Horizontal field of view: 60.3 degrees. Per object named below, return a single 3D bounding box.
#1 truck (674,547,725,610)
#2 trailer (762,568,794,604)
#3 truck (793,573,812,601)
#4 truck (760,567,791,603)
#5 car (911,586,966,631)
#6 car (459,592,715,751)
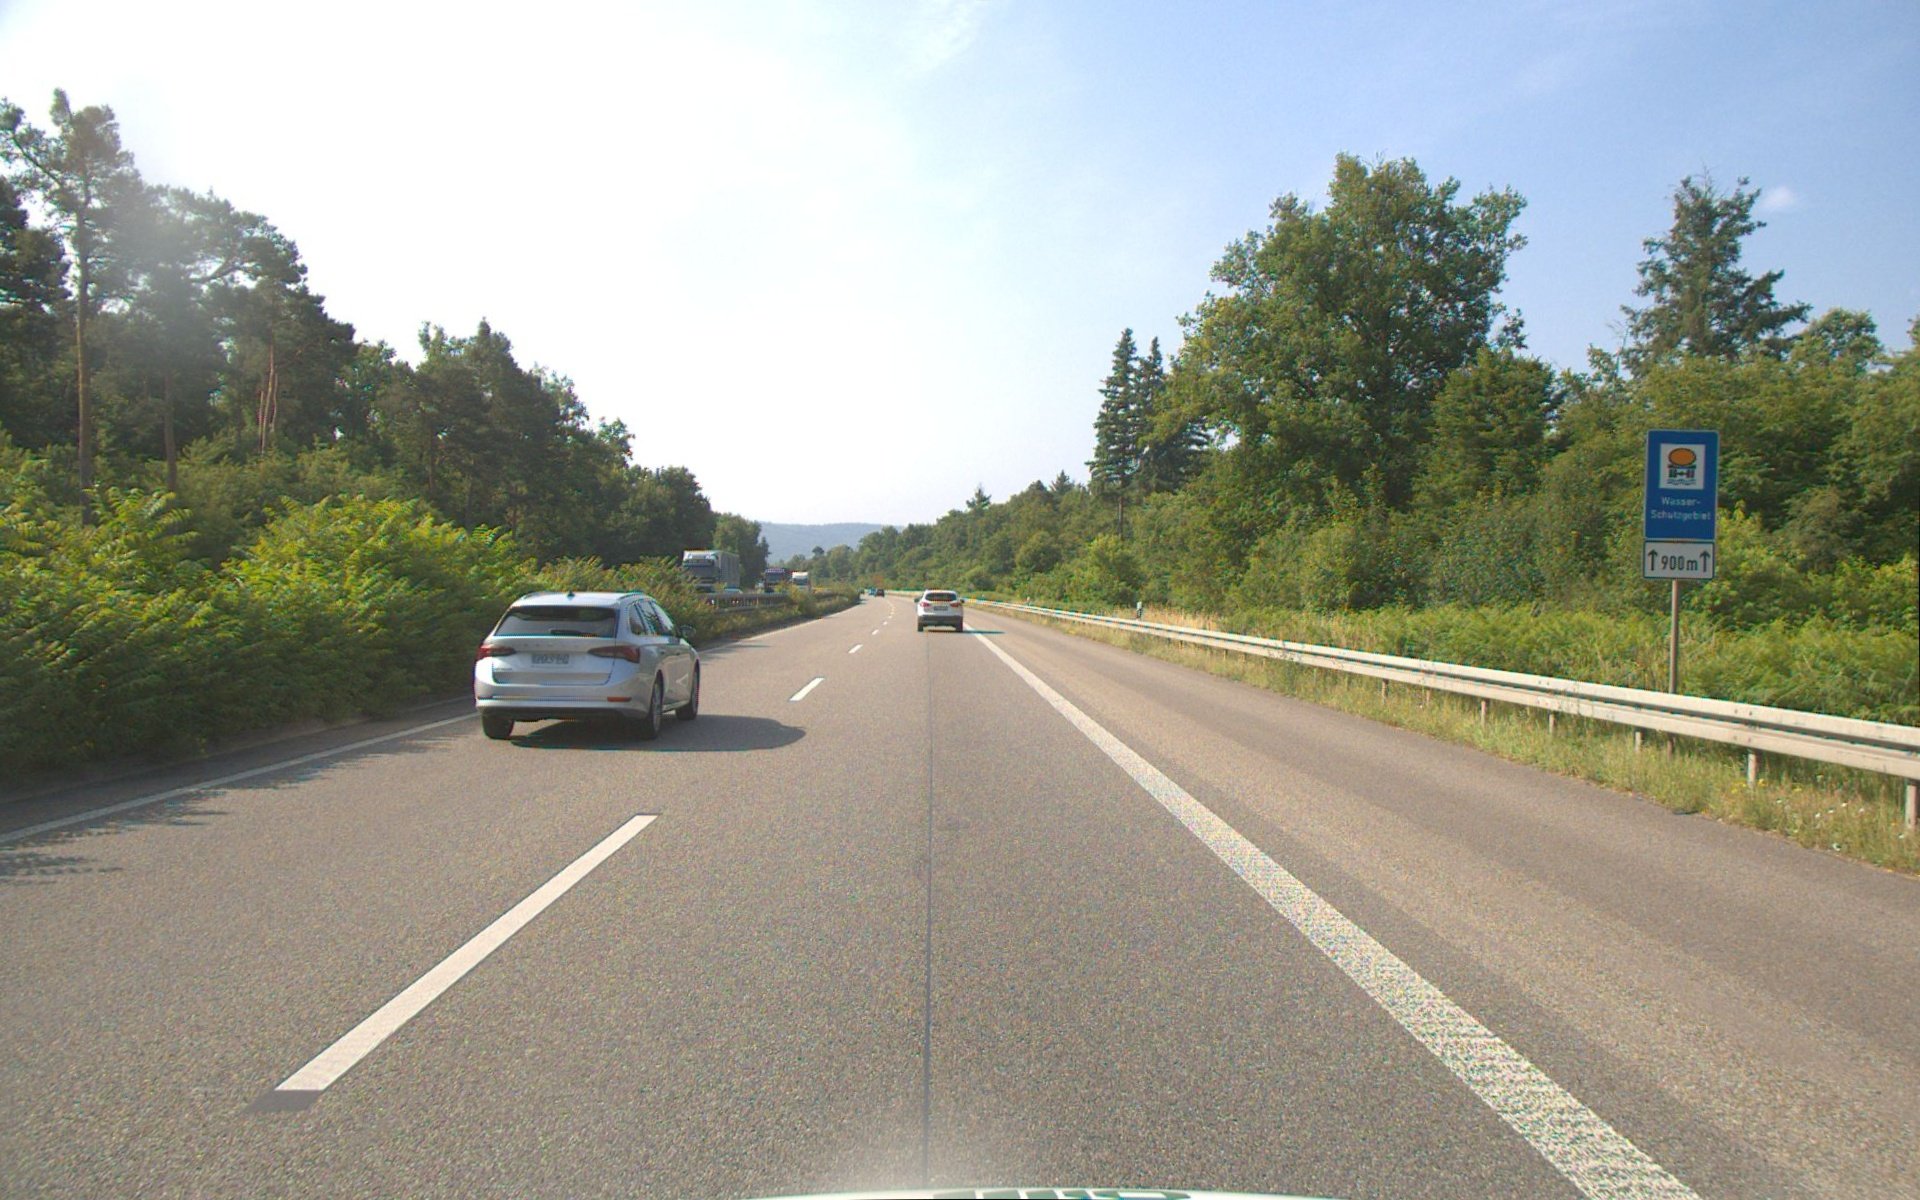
[{"bbox_3d":[-17.992,-1.460,114.517,2.654,4.274,6.291,0,0,-2],"label":"truck"},{"bbox_3d":[-21.708,-1.649,197.388,3.229,4.110,8.368,1,0,-3],"label":"trailer"},{"bbox_3d":[-24.616,-2.047,258.610,2.781,4.269,5.543,0,0,-3],"label":"truck"},{"bbox_3d":[-21.443,-1.724,192.265,3.201,4.110,6.230,1,0,-3],"label":"truck"},{"bbox_3d":[-0.865,0.301,64.611,1.837,1.614,3.997,2,0,-4],"label":"car"},{"bbox_3d":[-3.885,0.653,18.146,1.756,1.463,5.276,0,0,-2],"label":"car"}]
